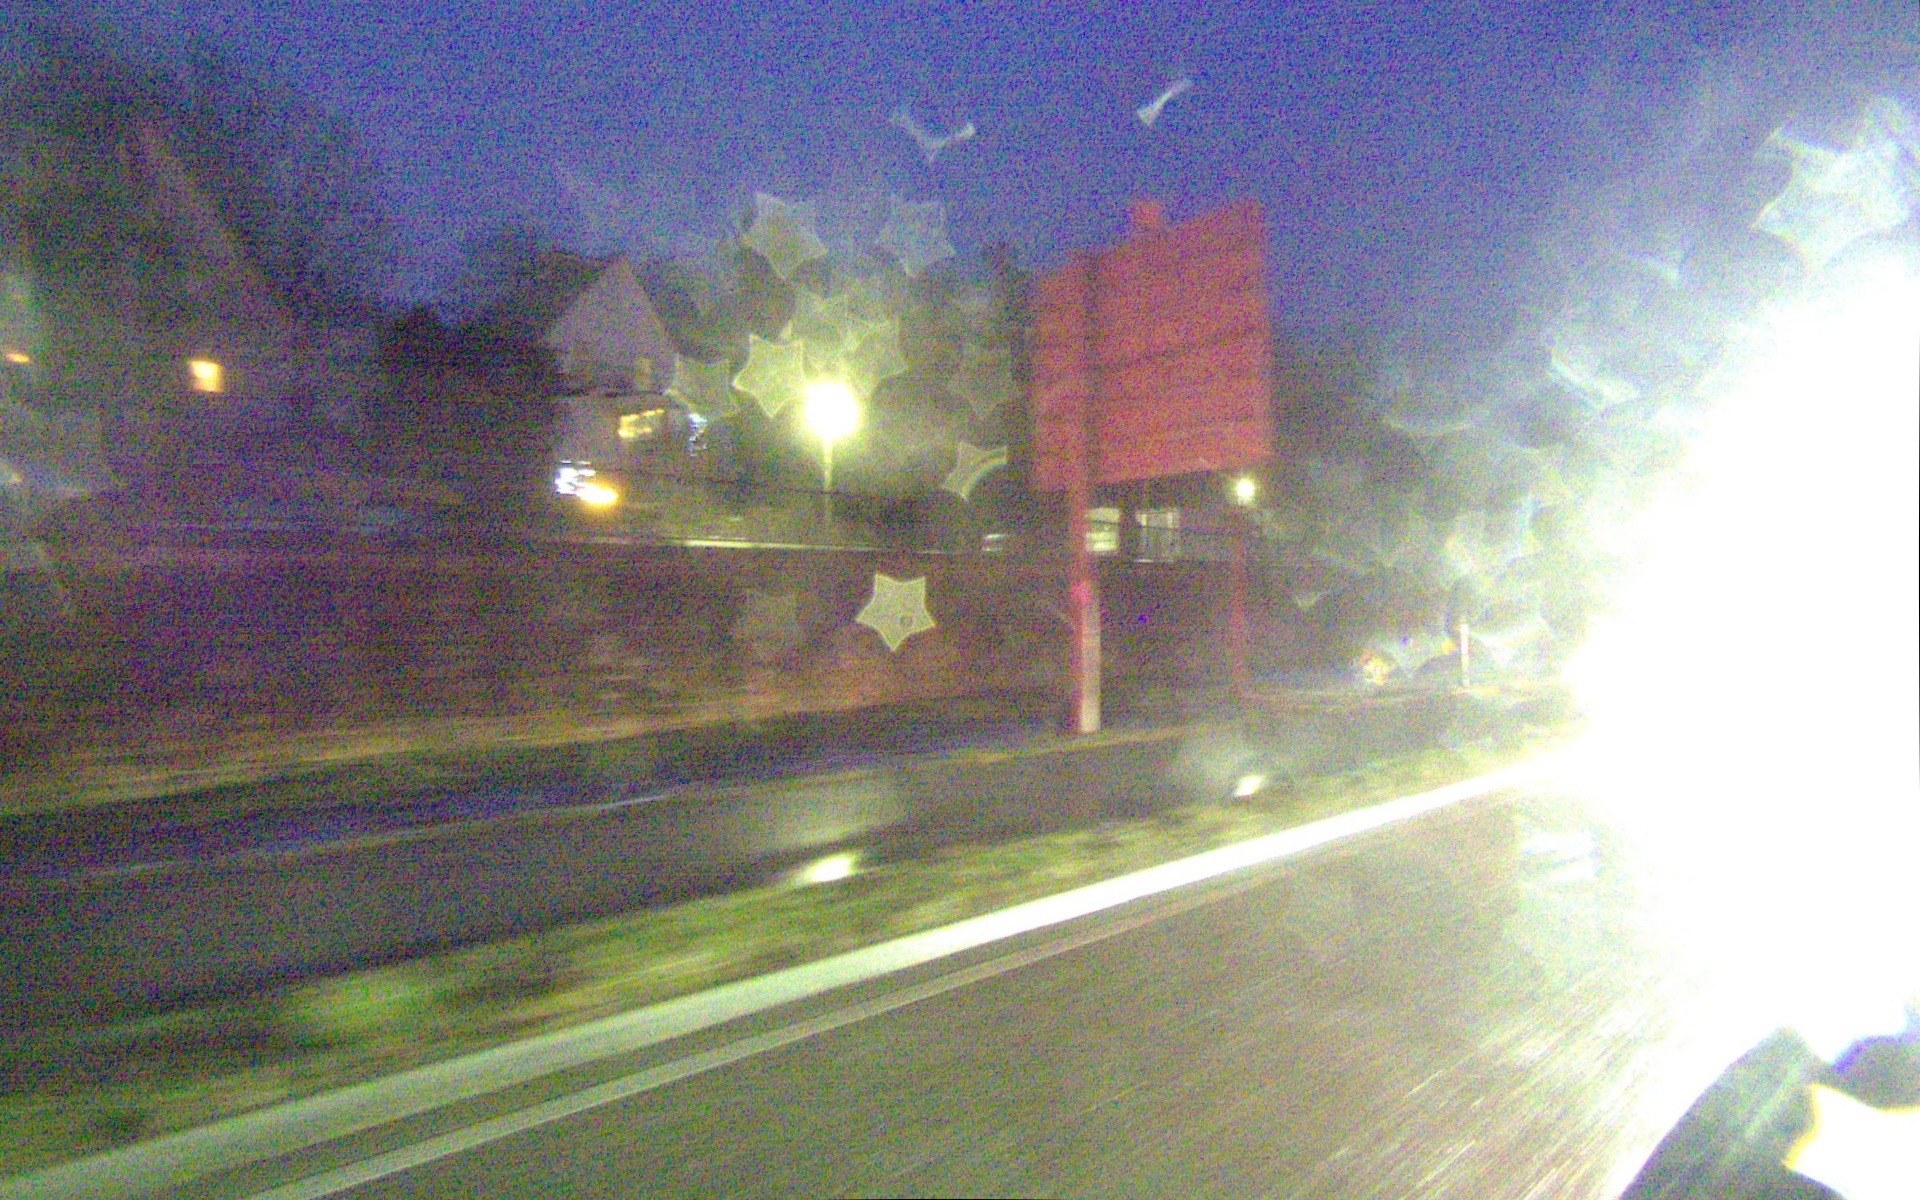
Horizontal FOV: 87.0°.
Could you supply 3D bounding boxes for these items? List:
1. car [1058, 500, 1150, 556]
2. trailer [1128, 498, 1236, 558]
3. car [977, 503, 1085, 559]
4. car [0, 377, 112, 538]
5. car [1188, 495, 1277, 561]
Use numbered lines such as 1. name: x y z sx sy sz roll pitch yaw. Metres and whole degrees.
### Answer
1. car: 5.045 -2.439 35.110 1.607 1.660 3.951 0 0 34
2. trailer: 9.162 -2.856 41.381 2.220 2.098 5.646 1 1 36
3. car: 2.256 -2.084 31.442 1.607 1.491 3.951 0 0 34
4. car: -11.651 -1.603 10.504 1.629 1.638 4.085 0 0 33
5. car: 12.411 -3.169 45.847 2.108 2.668 5.379 1 0 36
